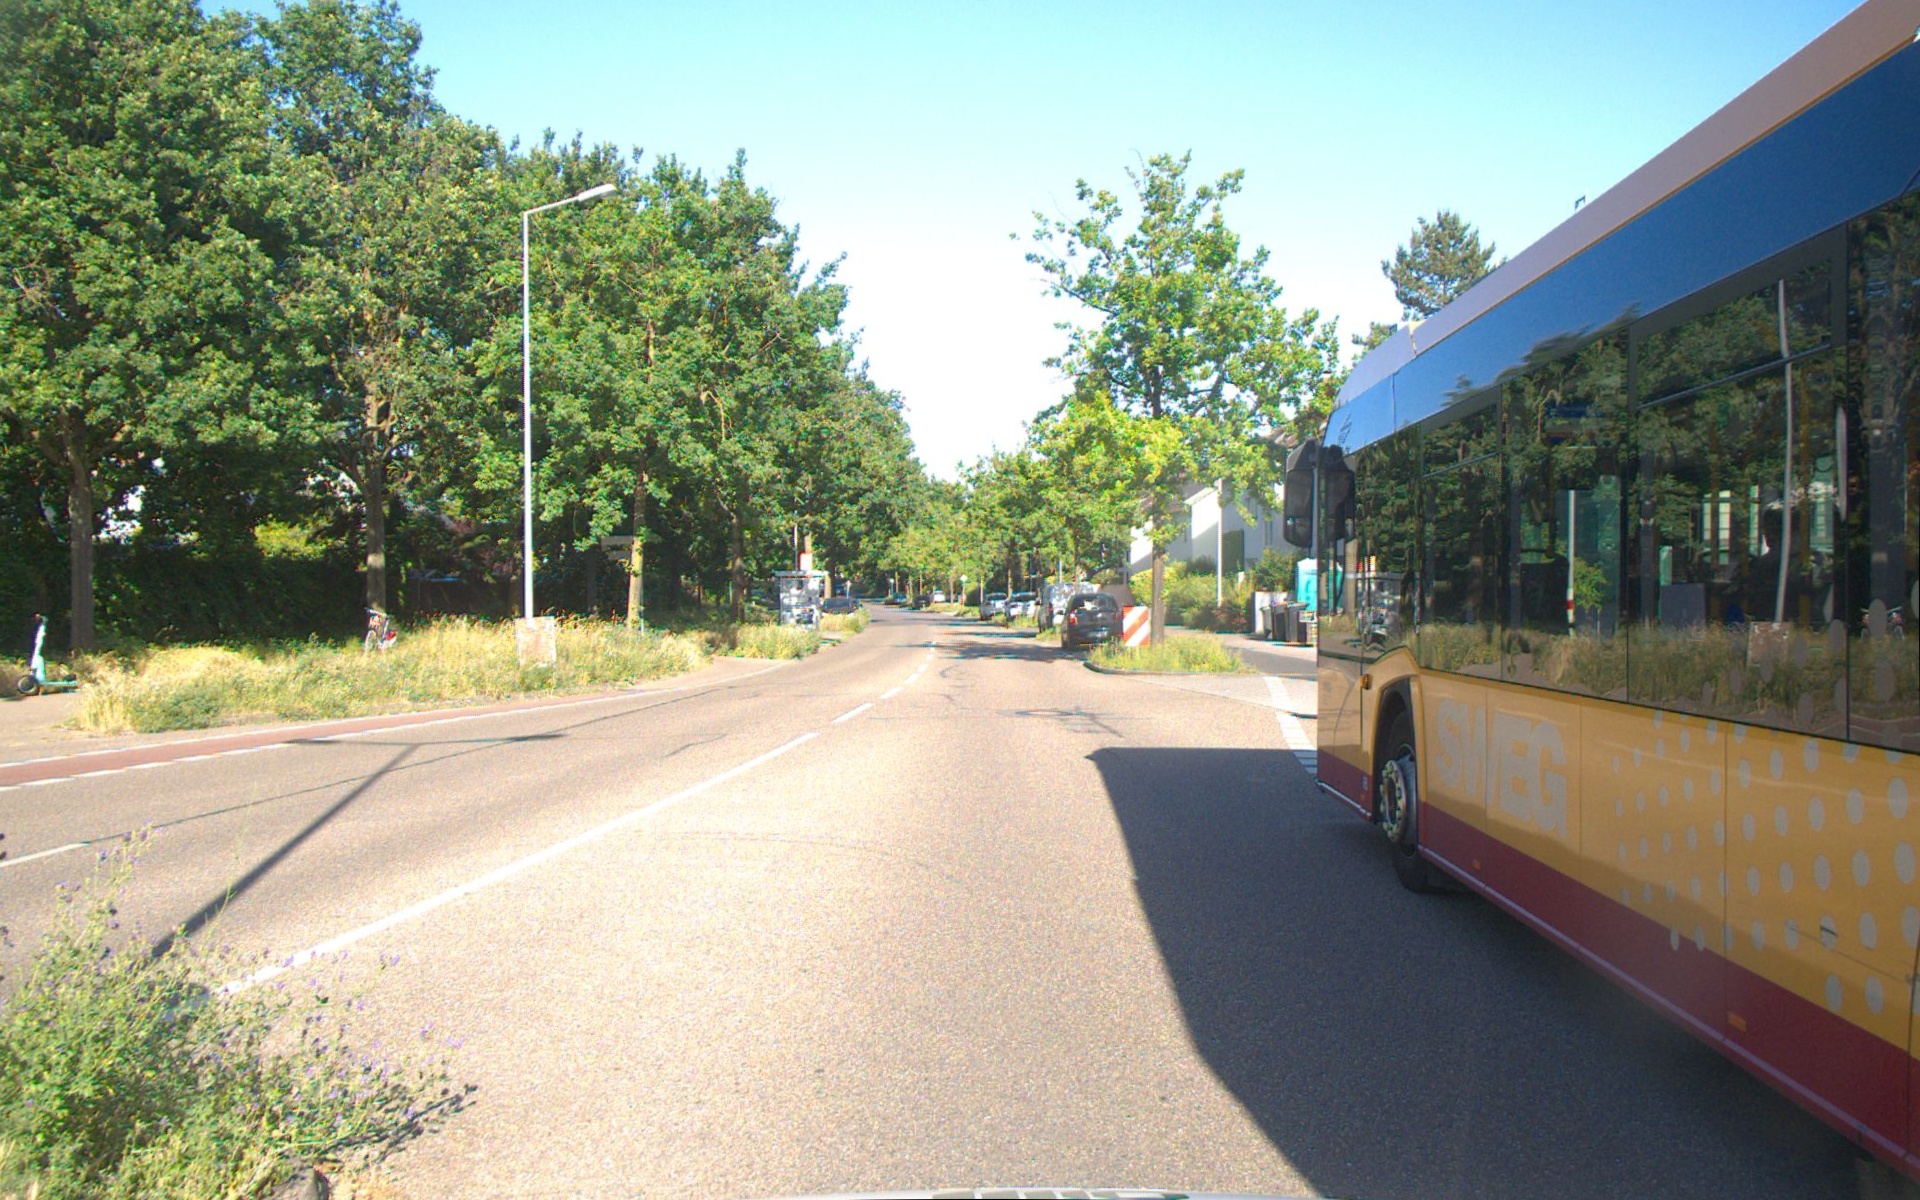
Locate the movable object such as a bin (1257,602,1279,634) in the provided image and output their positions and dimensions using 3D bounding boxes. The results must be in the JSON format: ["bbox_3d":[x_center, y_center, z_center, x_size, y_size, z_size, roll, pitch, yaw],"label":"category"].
[{"bbox_3d":[9.112,0.535,48.911,0.518,0.948,0.549,0,0,-1],"label":"movable object such as a bin"}]

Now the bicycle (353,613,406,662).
[{"bbox_3d":[-13.131,0.838,37.451,0.495,1.072,1.880,0,0,1],"label":"bicycle"}]

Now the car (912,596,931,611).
[{"bbox_3d":[-4.031,0.327,173.744,1.894,1.569,3.998,0,0,-2],"label":"car"}]

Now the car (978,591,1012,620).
[{"bbox_3d":[2.221,0.324,104.678,1.894,1.773,3.998,0,0,-2],"label":"car"}]

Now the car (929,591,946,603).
[{"bbox_3d":[-2.708,-0.346,199.769,1.895,1.479,3.997,0,0,-4],"label":"car"}]

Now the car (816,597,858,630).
[{"bbox_3d":[-5.722,0.611,77.269,1.897,1.505,3.997,0,0,-4],"label":"car"}]

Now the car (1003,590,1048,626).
[{"bbox_3d":[3.225,0.372,82.183,1.897,1.734,3.998,0,0,-2],"label":"car"}]

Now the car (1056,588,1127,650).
[{"bbox_3d":[3.665,0.498,46.560,1.638,1.606,3.751,-2,0,0],"label":"car"}]

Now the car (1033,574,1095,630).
[{"bbox_3d":[3.842,0.056,61.774,1.799,2.005,4.756,0,0,-2],"label":"car"}]

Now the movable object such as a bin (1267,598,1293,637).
[{"bbox_3d":[8.963,0.487,46.338,0.591,1.088,0.646,0,0,-1],"label":"movable object such as a bin"}]

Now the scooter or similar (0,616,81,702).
[{"bbox_3d":[-14.452,0.904,25.745,0.527,1.240,1.414,1,2,16],"label":"scooter or similar"}]

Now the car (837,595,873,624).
[{"bbox_3d":[-5.985,0.541,94.119,1.954,1.584,3.996,1,0,-5],"label":"car"}]

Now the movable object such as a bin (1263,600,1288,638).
[{"bbox_3d":[8.990,0.540,47.150,0.591,1.088,0.567,0,0,-1],"label":"movable object such as a bin"}]

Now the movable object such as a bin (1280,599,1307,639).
[{"bbox_3d":[9.149,0.508,45.427,0.591,1.088,0.646,0,0,-1],"label":"movable object such as a bin"}]

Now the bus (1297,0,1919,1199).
[{"bbox_3d":[3.418,-0.425,5.497,2.699,3.519,12.402,-1,-1,3],"label":"bus"}]

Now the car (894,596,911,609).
[{"bbox_3d":[-6.948,0.283,198.468,1.895,1.479,3.997,0,0,-4],"label":"car"}]
